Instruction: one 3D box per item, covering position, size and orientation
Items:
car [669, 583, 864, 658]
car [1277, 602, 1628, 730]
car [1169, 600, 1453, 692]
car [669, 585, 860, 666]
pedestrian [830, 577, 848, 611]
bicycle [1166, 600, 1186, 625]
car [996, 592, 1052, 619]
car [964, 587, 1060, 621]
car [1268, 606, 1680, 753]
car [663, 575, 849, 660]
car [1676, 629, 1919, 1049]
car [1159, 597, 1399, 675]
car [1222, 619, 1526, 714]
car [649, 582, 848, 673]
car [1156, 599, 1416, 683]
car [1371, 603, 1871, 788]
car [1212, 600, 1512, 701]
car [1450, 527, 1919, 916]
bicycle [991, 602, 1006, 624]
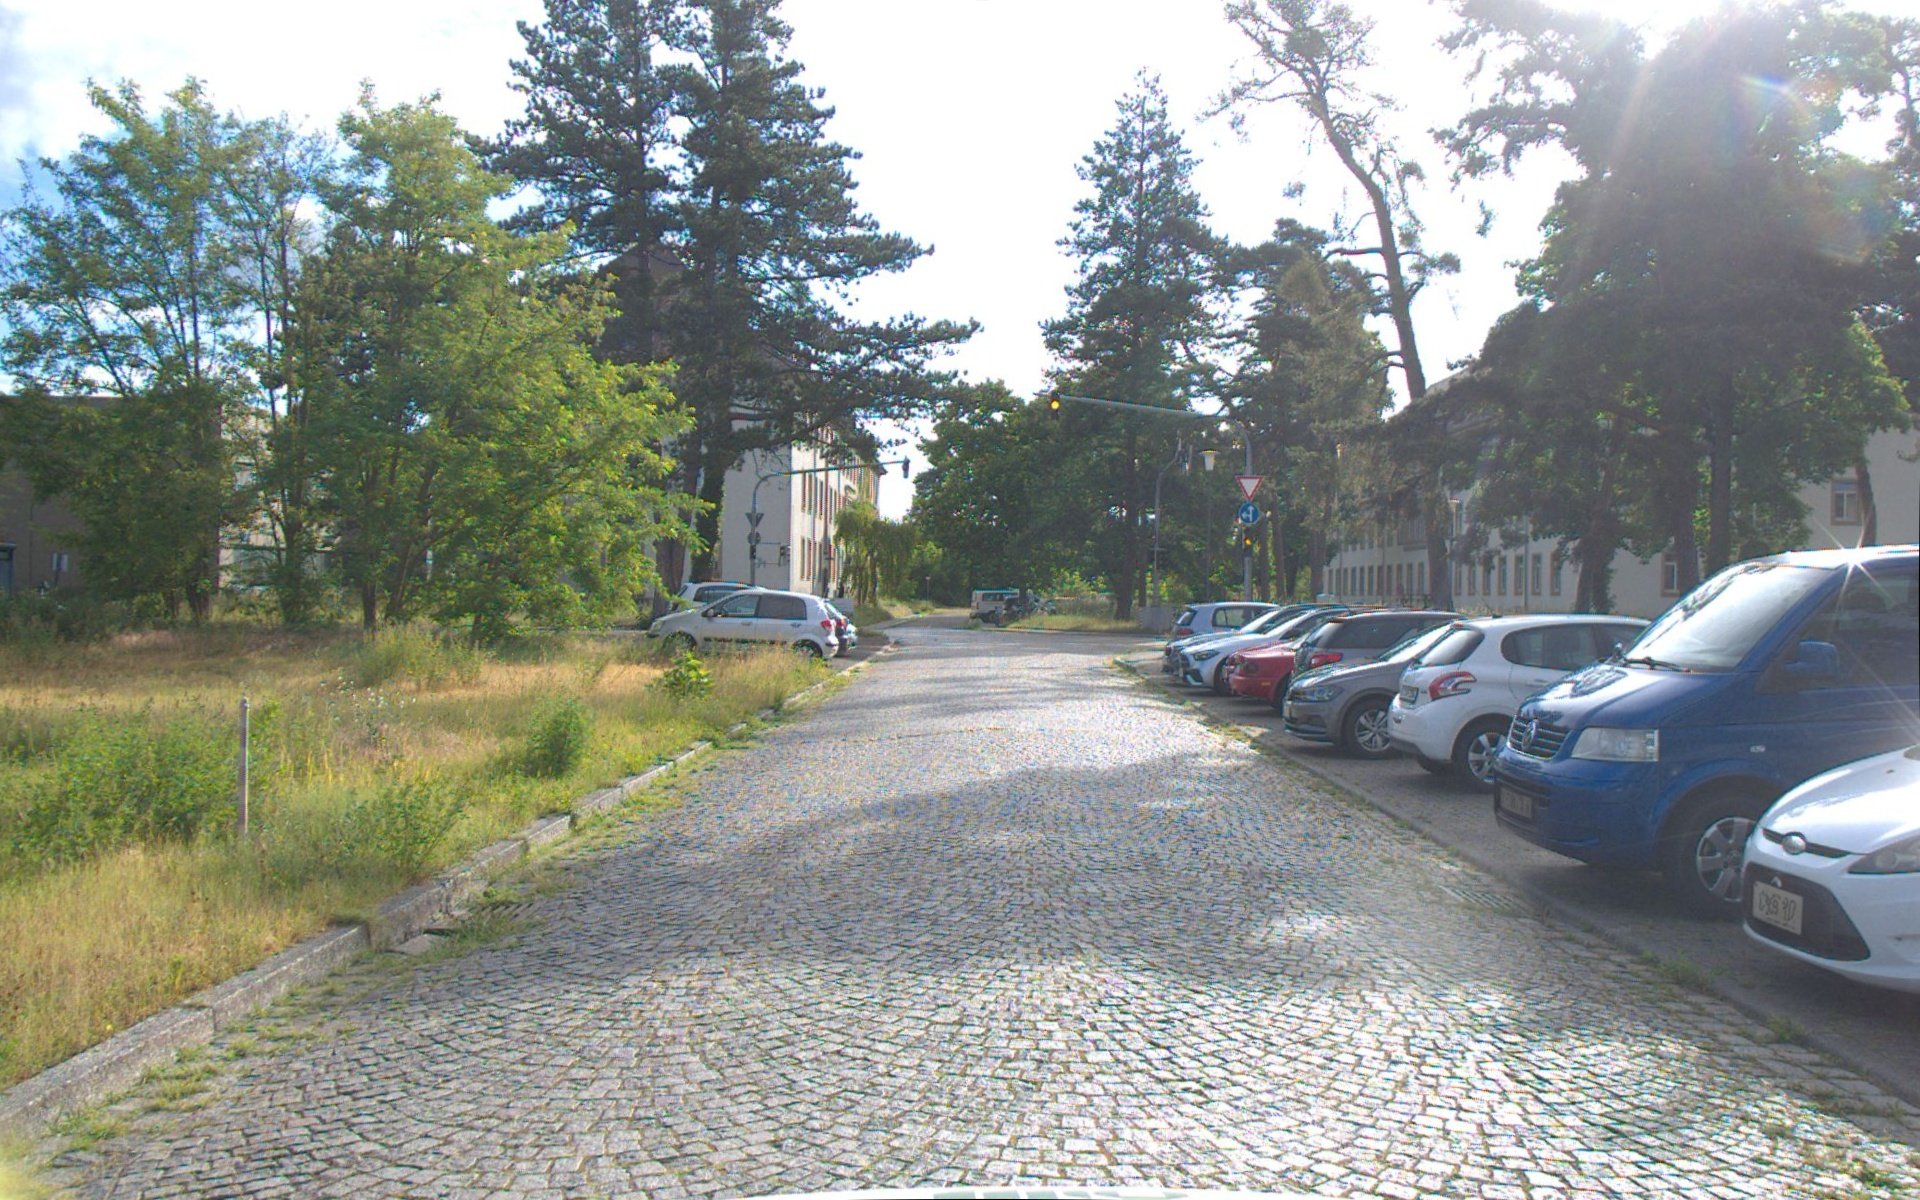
[{"bbox_3d":[-4.674,0.484,40.430,4.495,1.480,1.903,4,1,-2],"label":"car"},{"bbox_3d":[6.056,0.792,20.652,3.869,1.521,1.772,0,-1,1],"label":"car"},{"bbox_3d":[5.854,0.762,27.941,4.414,1.499,1.849,0,-1,0],"label":"car"},{"bbox_3d":[-4.103,0.535,35.188,3.751,1.454,1.858,4,-1,0],"label":"car"},{"bbox_3d":[-7.070,-0.334,96.888,0.965,1.998,0.932,1,-1,0],"label":"pedestrian"},{"bbox_3d":[9.167,0.521,70.237,0.551,1.016,1.751,0,1,-3],"label":"bicycle"},{"bbox_3d":[3.747,0.348,96.824,2.979,1.491,1.715,1,-1,-12],"label":"car"},{"bbox_3d":[3.128,0.232,100.395,5.406,1.949,2.246,1,-1,-13],"label":"car"},{"bbox_3d":[5.397,0.813,17.733,3.869,1.493,1.831,0,-1,1],"label":"car"},{"bbox_3d":[-4.609,0.399,37.887,4.040,1.627,1.857,4,-1,-4],"label":"car"},{"bbox_3d":[5.468,0.883,7.010,4.107,1.495,1.806,0,-1,-3],"label":"car"},{"bbox_3d":[6.363,0.712,33.342,4.452,1.532,1.932,0,-1,-1],"label":"car"},{"bbox_3d":[5.750,0.912,23.293,3.869,1.283,1.727,0,-1,1],"label":"car"},{"bbox_3d":[-4.094,0.527,32.533,3.609,1.499,1.849,4,-1,-1],"label":"car"},{"bbox_3d":[5.991,0.741,30.720,4.417,1.499,1.894,0,-1,-4],"label":"car"},{"bbox_3d":[5.801,0.813,14.873,3.794,1.557,1.808,0,-1,1],"label":"car"},{"bbox_3d":[6.161,0.763,25.669,4.251,1.499,1.740,0,-1,0],"label":"car"},{"bbox_3d":[5.444,0.600,9.523,4.636,1.962,1.992,-1,-1,0],"label":"car"},{"bbox_3d":[1.885,0.638,80.875,0.713,1.016,1.799,0,1,1],"label":"bicycle"}]
